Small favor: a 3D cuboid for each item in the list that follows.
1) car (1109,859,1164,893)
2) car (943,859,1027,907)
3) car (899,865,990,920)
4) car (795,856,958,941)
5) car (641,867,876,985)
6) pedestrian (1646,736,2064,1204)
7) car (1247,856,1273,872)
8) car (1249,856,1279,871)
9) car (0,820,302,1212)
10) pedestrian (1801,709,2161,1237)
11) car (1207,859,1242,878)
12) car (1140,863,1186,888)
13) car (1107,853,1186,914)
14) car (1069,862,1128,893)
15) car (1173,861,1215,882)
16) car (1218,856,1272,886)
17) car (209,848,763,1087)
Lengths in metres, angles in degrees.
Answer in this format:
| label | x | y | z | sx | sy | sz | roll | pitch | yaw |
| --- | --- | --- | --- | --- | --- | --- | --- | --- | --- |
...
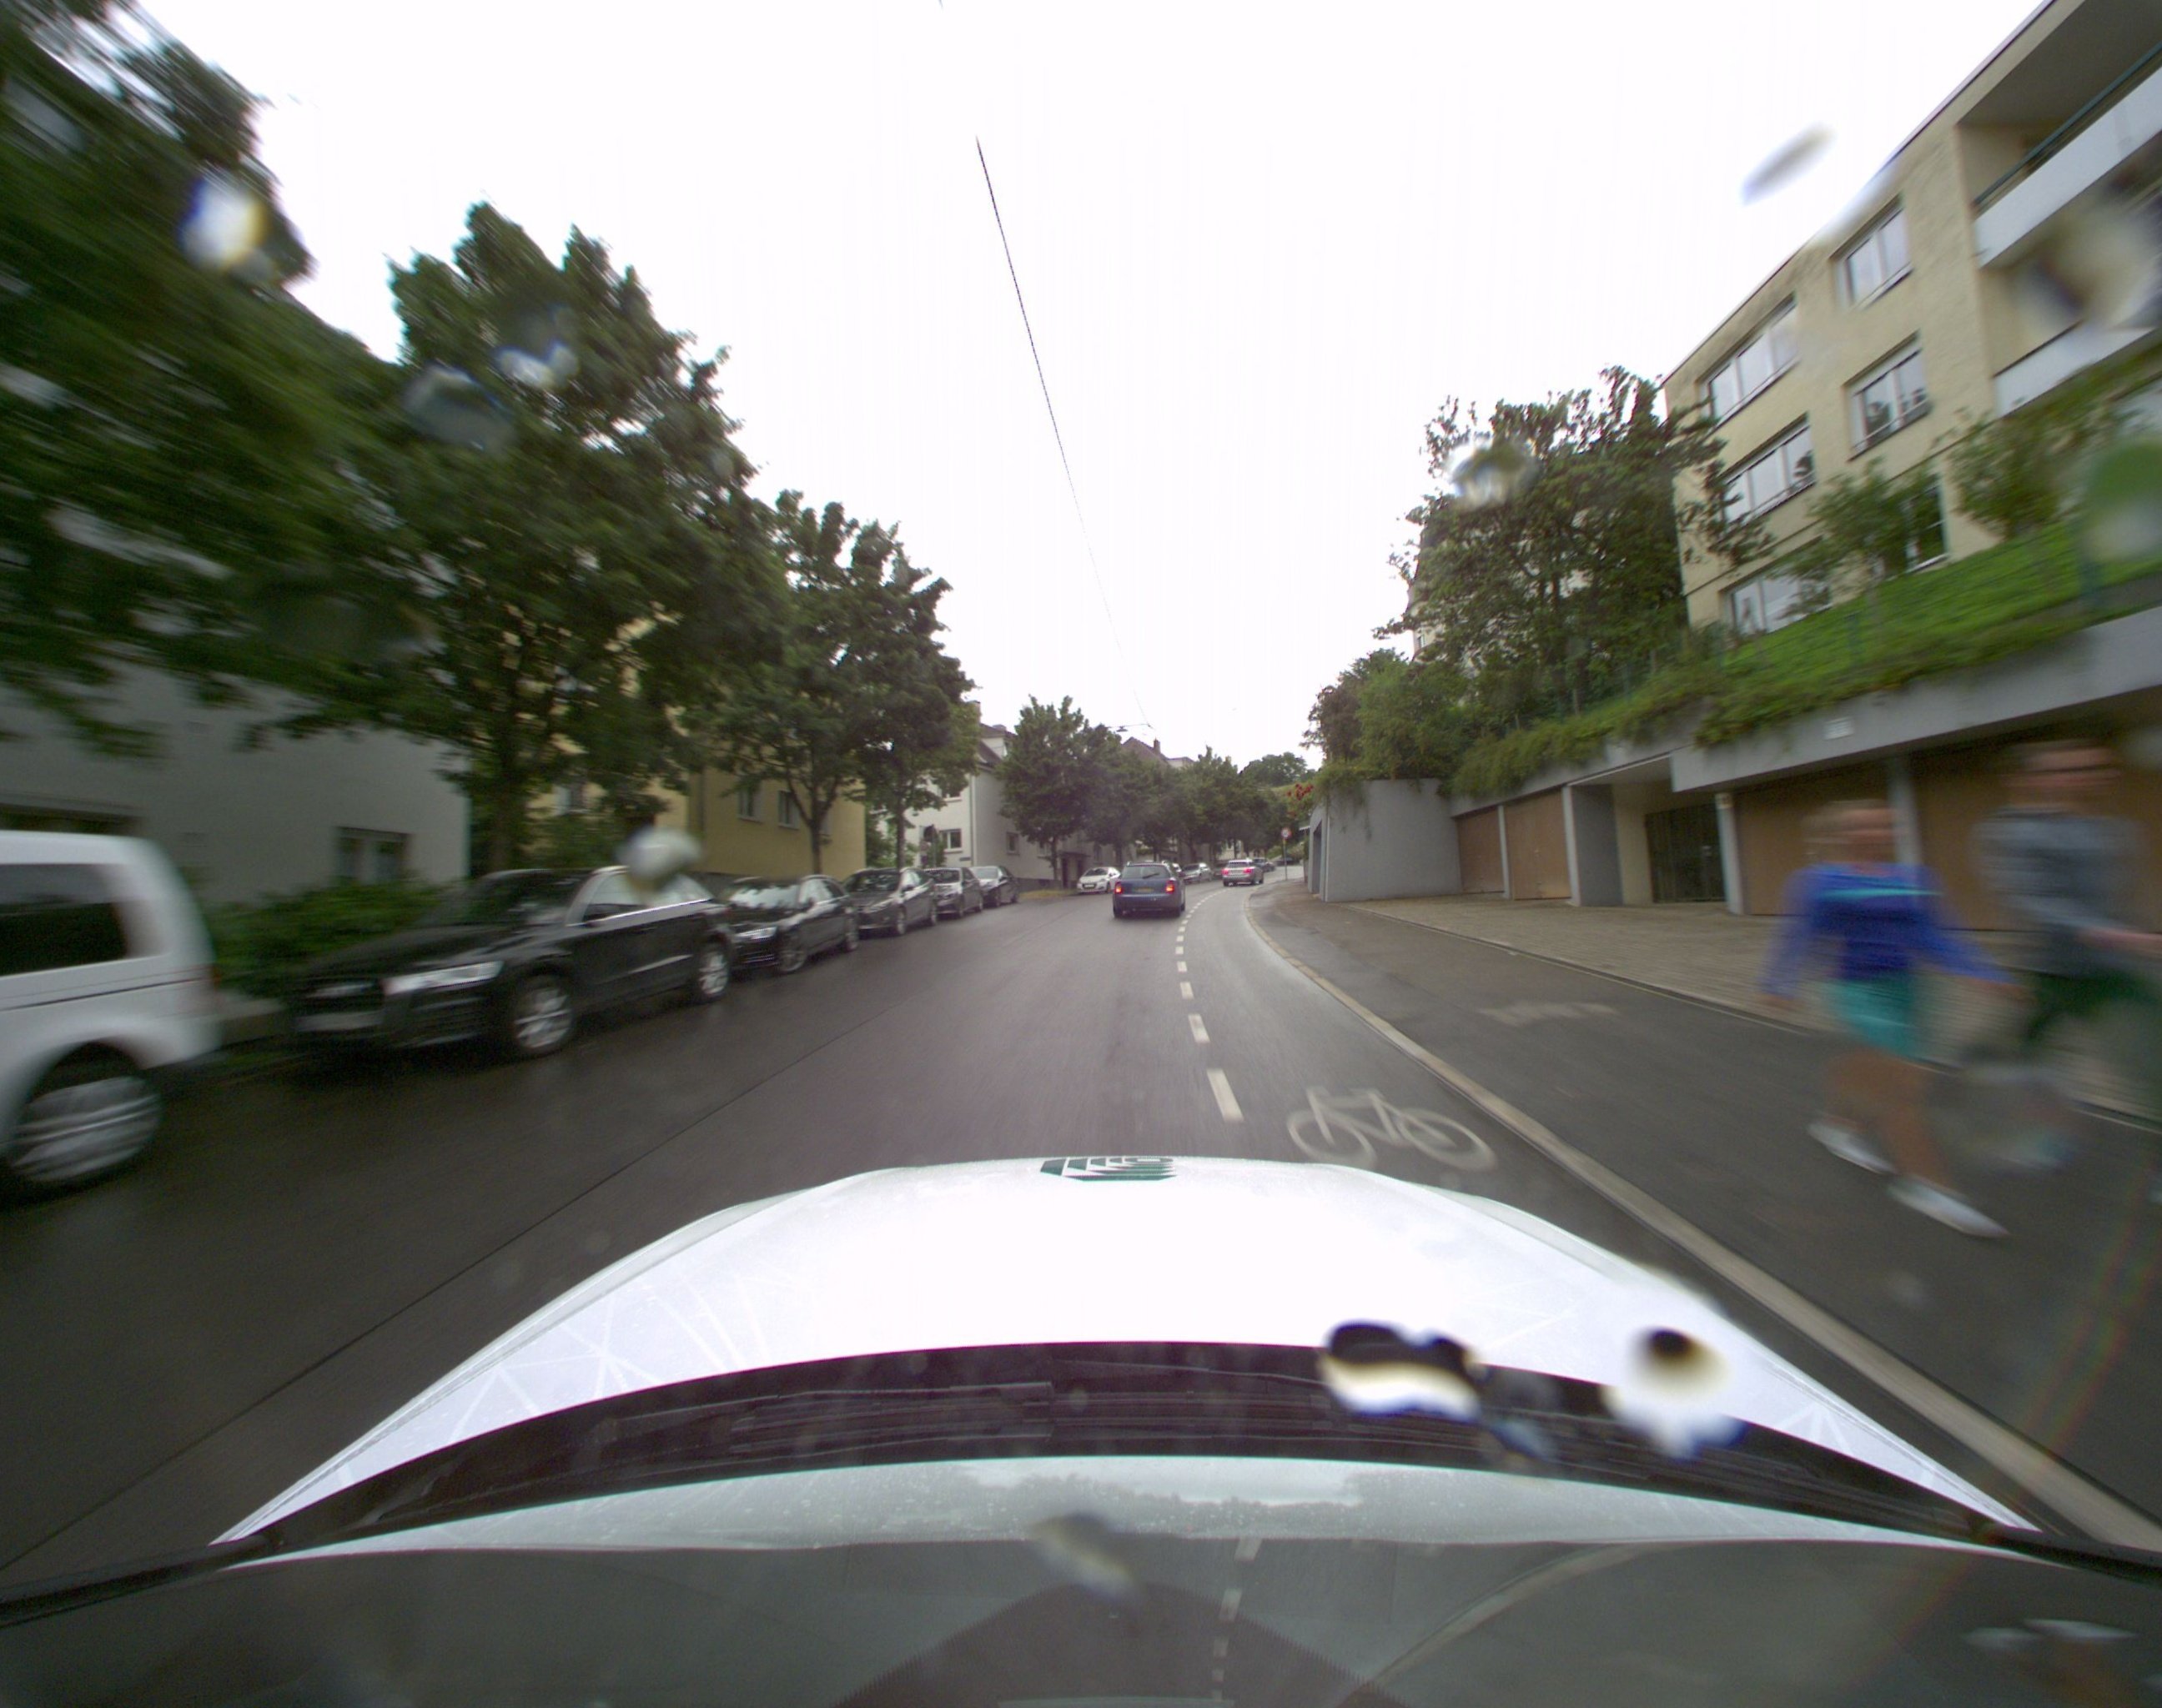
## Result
| label | x | y | z | sx | sy | sz | roll | pitch | yaw |
| --- | --- | --- | --- | --- | --- | --- | --- | --- | --- |
| car | 3.506 | 1.372 | 50.519 | 1.897 | 2.001 | 4.573 | -2 | -2 | 24 |
| car | -3.327 | 0.984 | 29.084 | 1.764 | 1.540 | 4.528 | -1 | -1 | 9 |
| car | -3.897 | 1.050 | 23.924 | 1.607 | 1.397 | 4.327 | -2 | -1 | 4 |
| car | -4.510 | 0.917 | 18.780 | 1.842 | 1.690 | 4.568 | -2 | -1 | 10 |
| car | -4.924 | 1.004 | 13.297 | 1.847 | 1.498 | 4.741 | -1 | 0 | 1 |
| pedestrian | 3.344 | 0.456 | 3.663 | 0.772 | 1.758 | 1.012 | -4 | -1 | 2 |
| car | 18.159 | 1.013 | 82.652 | 1.697 | 1.462 | 3.904 | -2 | 1 | 25 |
| car | 19.566 | 1.013 | 87.233 | 1.988 | 1.391 | 4.193 | -3 | -2 | -2 |
| car | -5.863 | 0.770 | 2.857 | 1.848 | 1.777 | 4.482 | -3 | -1 | 0 |
| pedestrian | 4.070 | 0.389 | 3.468 | 0.773 | 1.832 | 1.252 | -5 | 0 | 2 |
| car | 12.330 | 1.275 | 69.886 | 1.788 | 1.552 | 4.826 | -2 | -2 | 24 |
| car | 5.589 | 1.439 | 55.092 | 1.789 | 1.486 | 4.258 | -6 | -3 | 23 |
| car | 1.895 | 0.755 | 22.318 | 1.843 | 1.414 | 4.371 | -3 | -1 | 8 |
| car | 1.002 | 1.294 | 44.710 | 1.769 | 1.514 | 4.367 | -6 | -4 | 20 |
| car | 8.377 | 1.320 | 60.035 | 1.788 | 1.453 | 4.622 | -2 | -2 | 23 |
| car | 9.369 | 0.930 | 46.262 | 1.932 | 1.561 | 4.288 | 0 | 0 | 26 |
| car | -5.201 | 0.844 | 8.139 | 1.845 | 1.668 | 4.594 | -2 | -1 | 5 |
